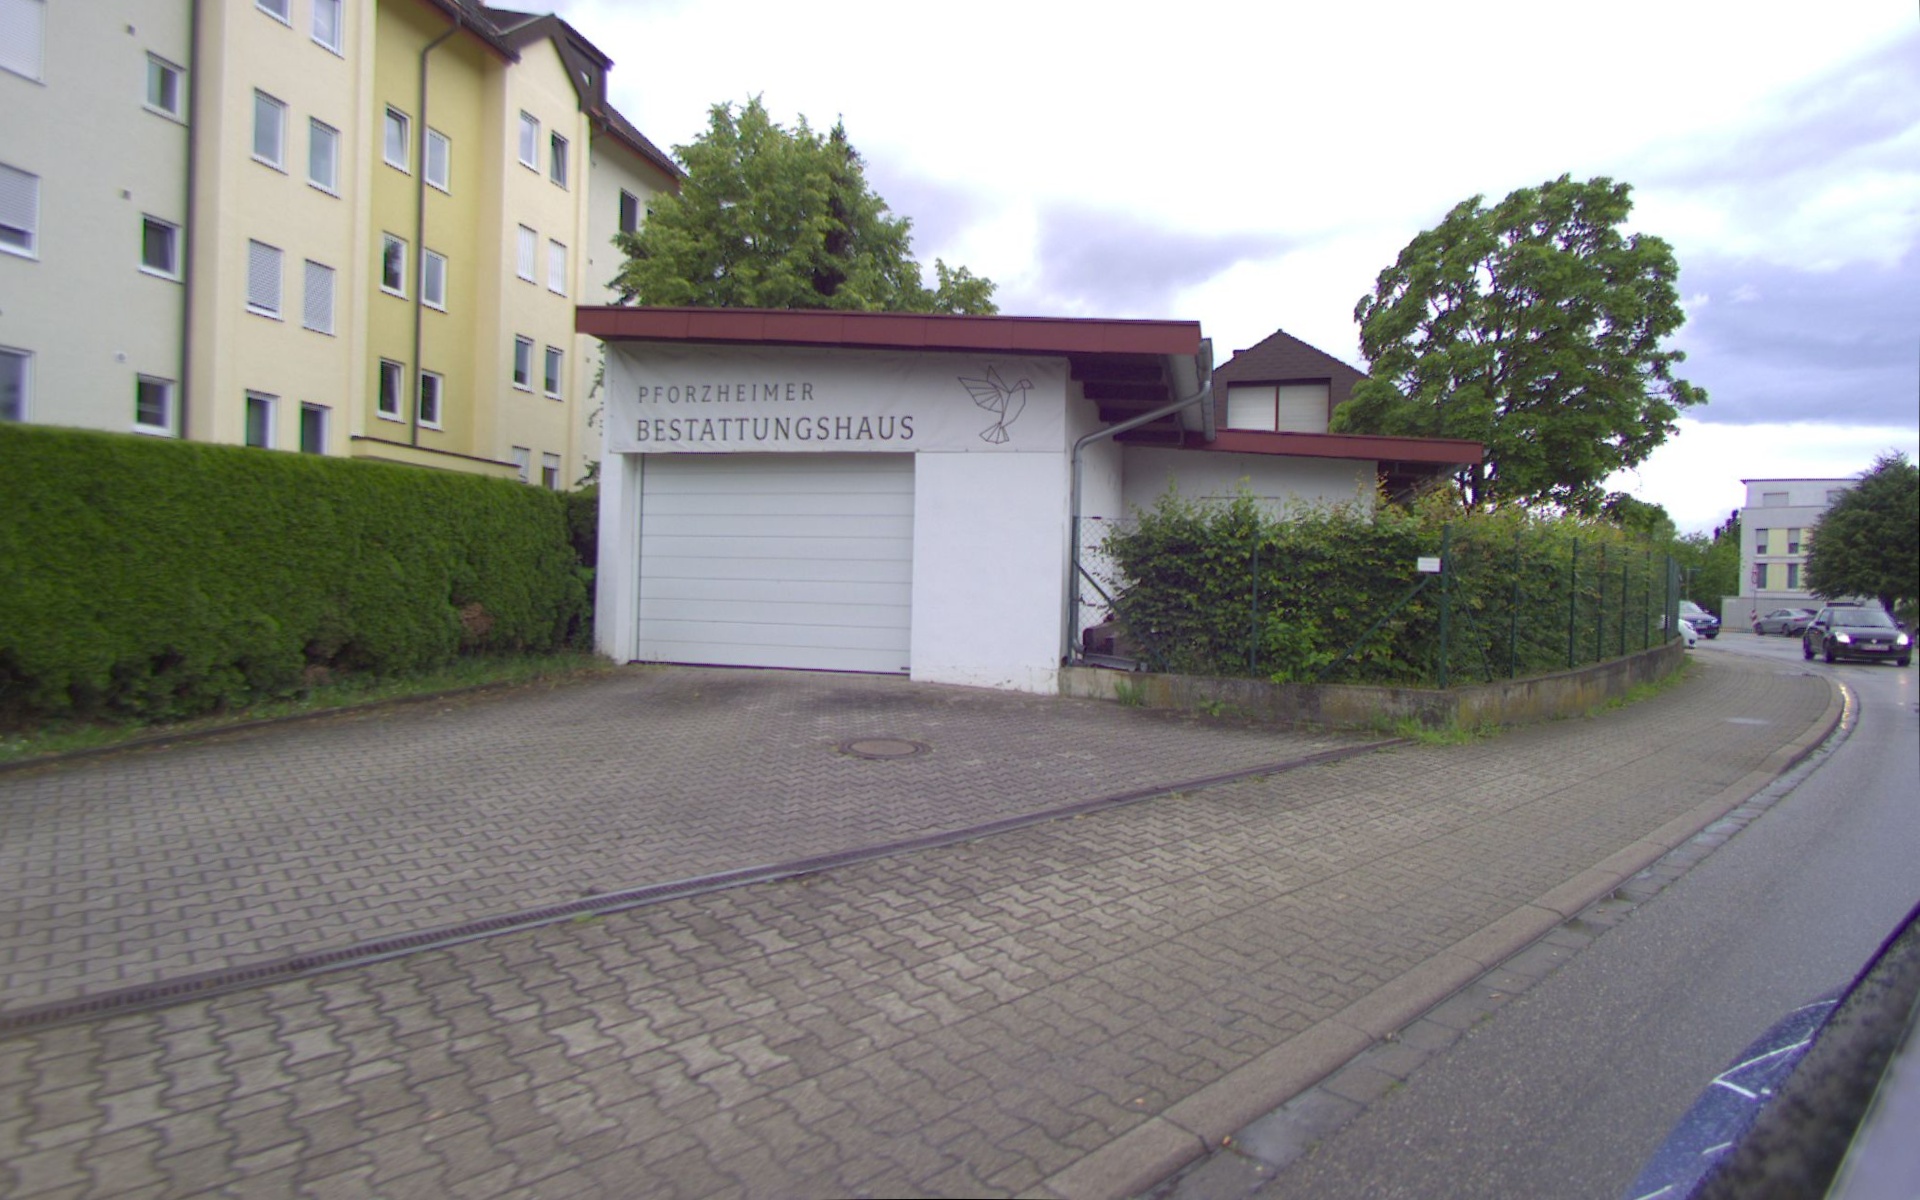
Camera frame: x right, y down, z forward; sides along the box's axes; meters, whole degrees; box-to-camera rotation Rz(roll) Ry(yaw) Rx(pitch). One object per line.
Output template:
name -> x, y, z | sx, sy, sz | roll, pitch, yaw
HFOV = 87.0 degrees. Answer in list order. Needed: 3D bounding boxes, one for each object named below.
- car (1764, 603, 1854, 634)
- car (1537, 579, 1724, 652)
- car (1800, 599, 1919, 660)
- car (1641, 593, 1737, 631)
car -> 41.895, 0.884, 50.030 | 1.857, 1.353, 3.981 | 2, 1, 15
car -> 18.706, 0.385, 28.477 | 3.957, 1.578, 1.867 | 6, 3, 23
car -> 24.272, 0.737, 27.187 | 1.825, 1.467, 3.960 | 1, 1, 28
car -> 32.219, 0.506, 44.875 | 1.812, 1.569, 3.990 | 1, 1, 9
